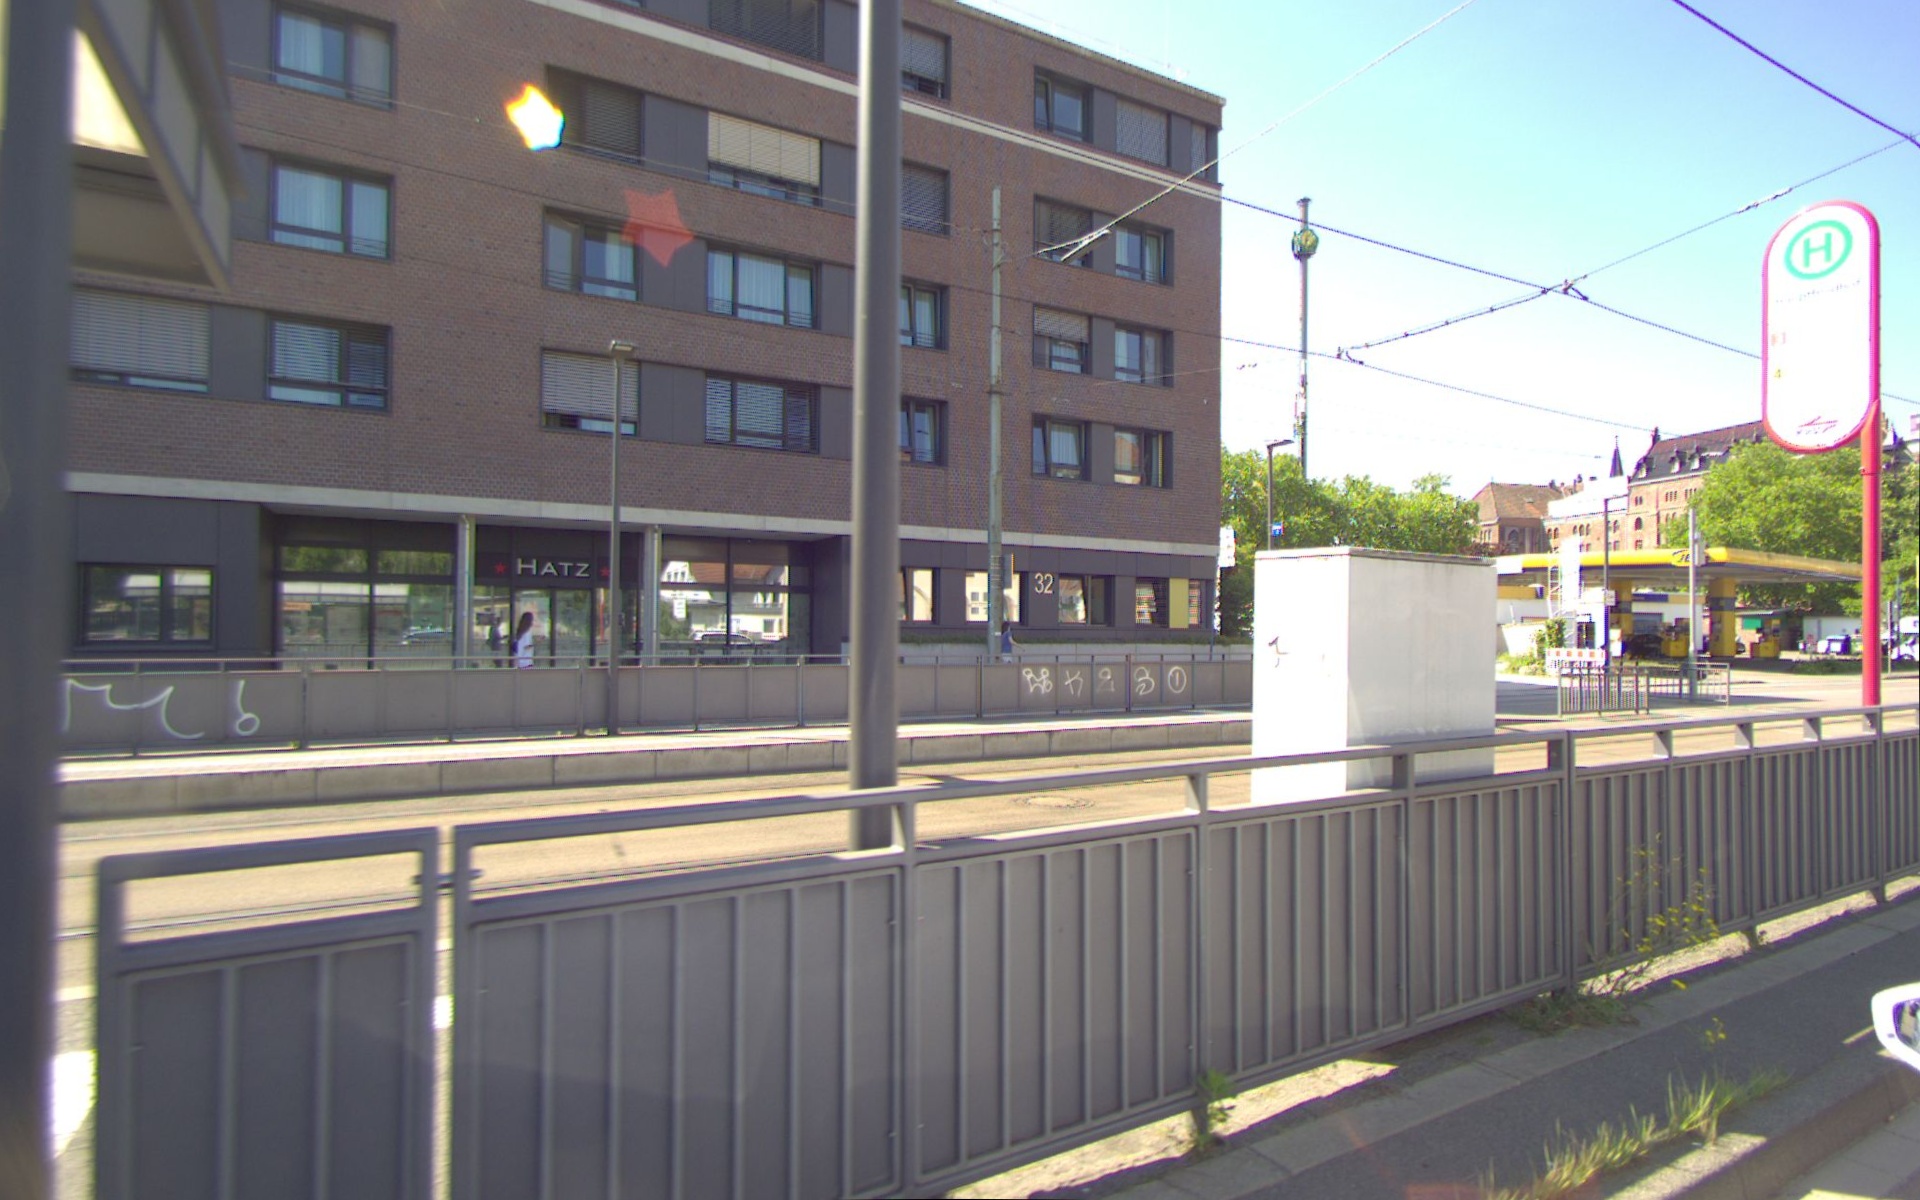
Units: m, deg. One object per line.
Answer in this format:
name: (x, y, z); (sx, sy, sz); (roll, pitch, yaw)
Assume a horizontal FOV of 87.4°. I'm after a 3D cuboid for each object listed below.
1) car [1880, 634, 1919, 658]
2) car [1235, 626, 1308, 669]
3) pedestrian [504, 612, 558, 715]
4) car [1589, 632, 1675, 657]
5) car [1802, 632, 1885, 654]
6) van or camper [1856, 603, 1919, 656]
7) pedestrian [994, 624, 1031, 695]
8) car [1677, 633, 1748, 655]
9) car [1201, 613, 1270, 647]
car: (69.042, 3.315, 71.838); (4.485, 1.646, 1.951); (1, -1, 8)
car: (12.101, 1.827, 39.259); (1.766, 1.442, 4.001); (1, 0, 3)
pedestrian: (-7.980, 1.157, 18.666); (0.828, 1.843, 0.841); (1, -1, -29)
car: (39.780, 2.617, 59.447); (4.313, 1.320, 1.698); (1, 0, -12)
car: (67.985, 3.318, 77.361); (4.485, 1.604, 1.951); (1, -1, 9)
van or camper: (58.396, 1.862, 60.062); (2.584, 3.007, 6.664); (2, 1, -28)
pedestrian: (1.276, 1.441, 24.482); (0.692, 1.686, 0.578); (1, -2, -31)
car: (57.647, 3.378, 77.034); (1.903, 1.547, 4.164); (2, -1, -11)
car: (19.748, 2.134, 72.294); (2.289, 2.358, 5.646); (2, -2, -13)
